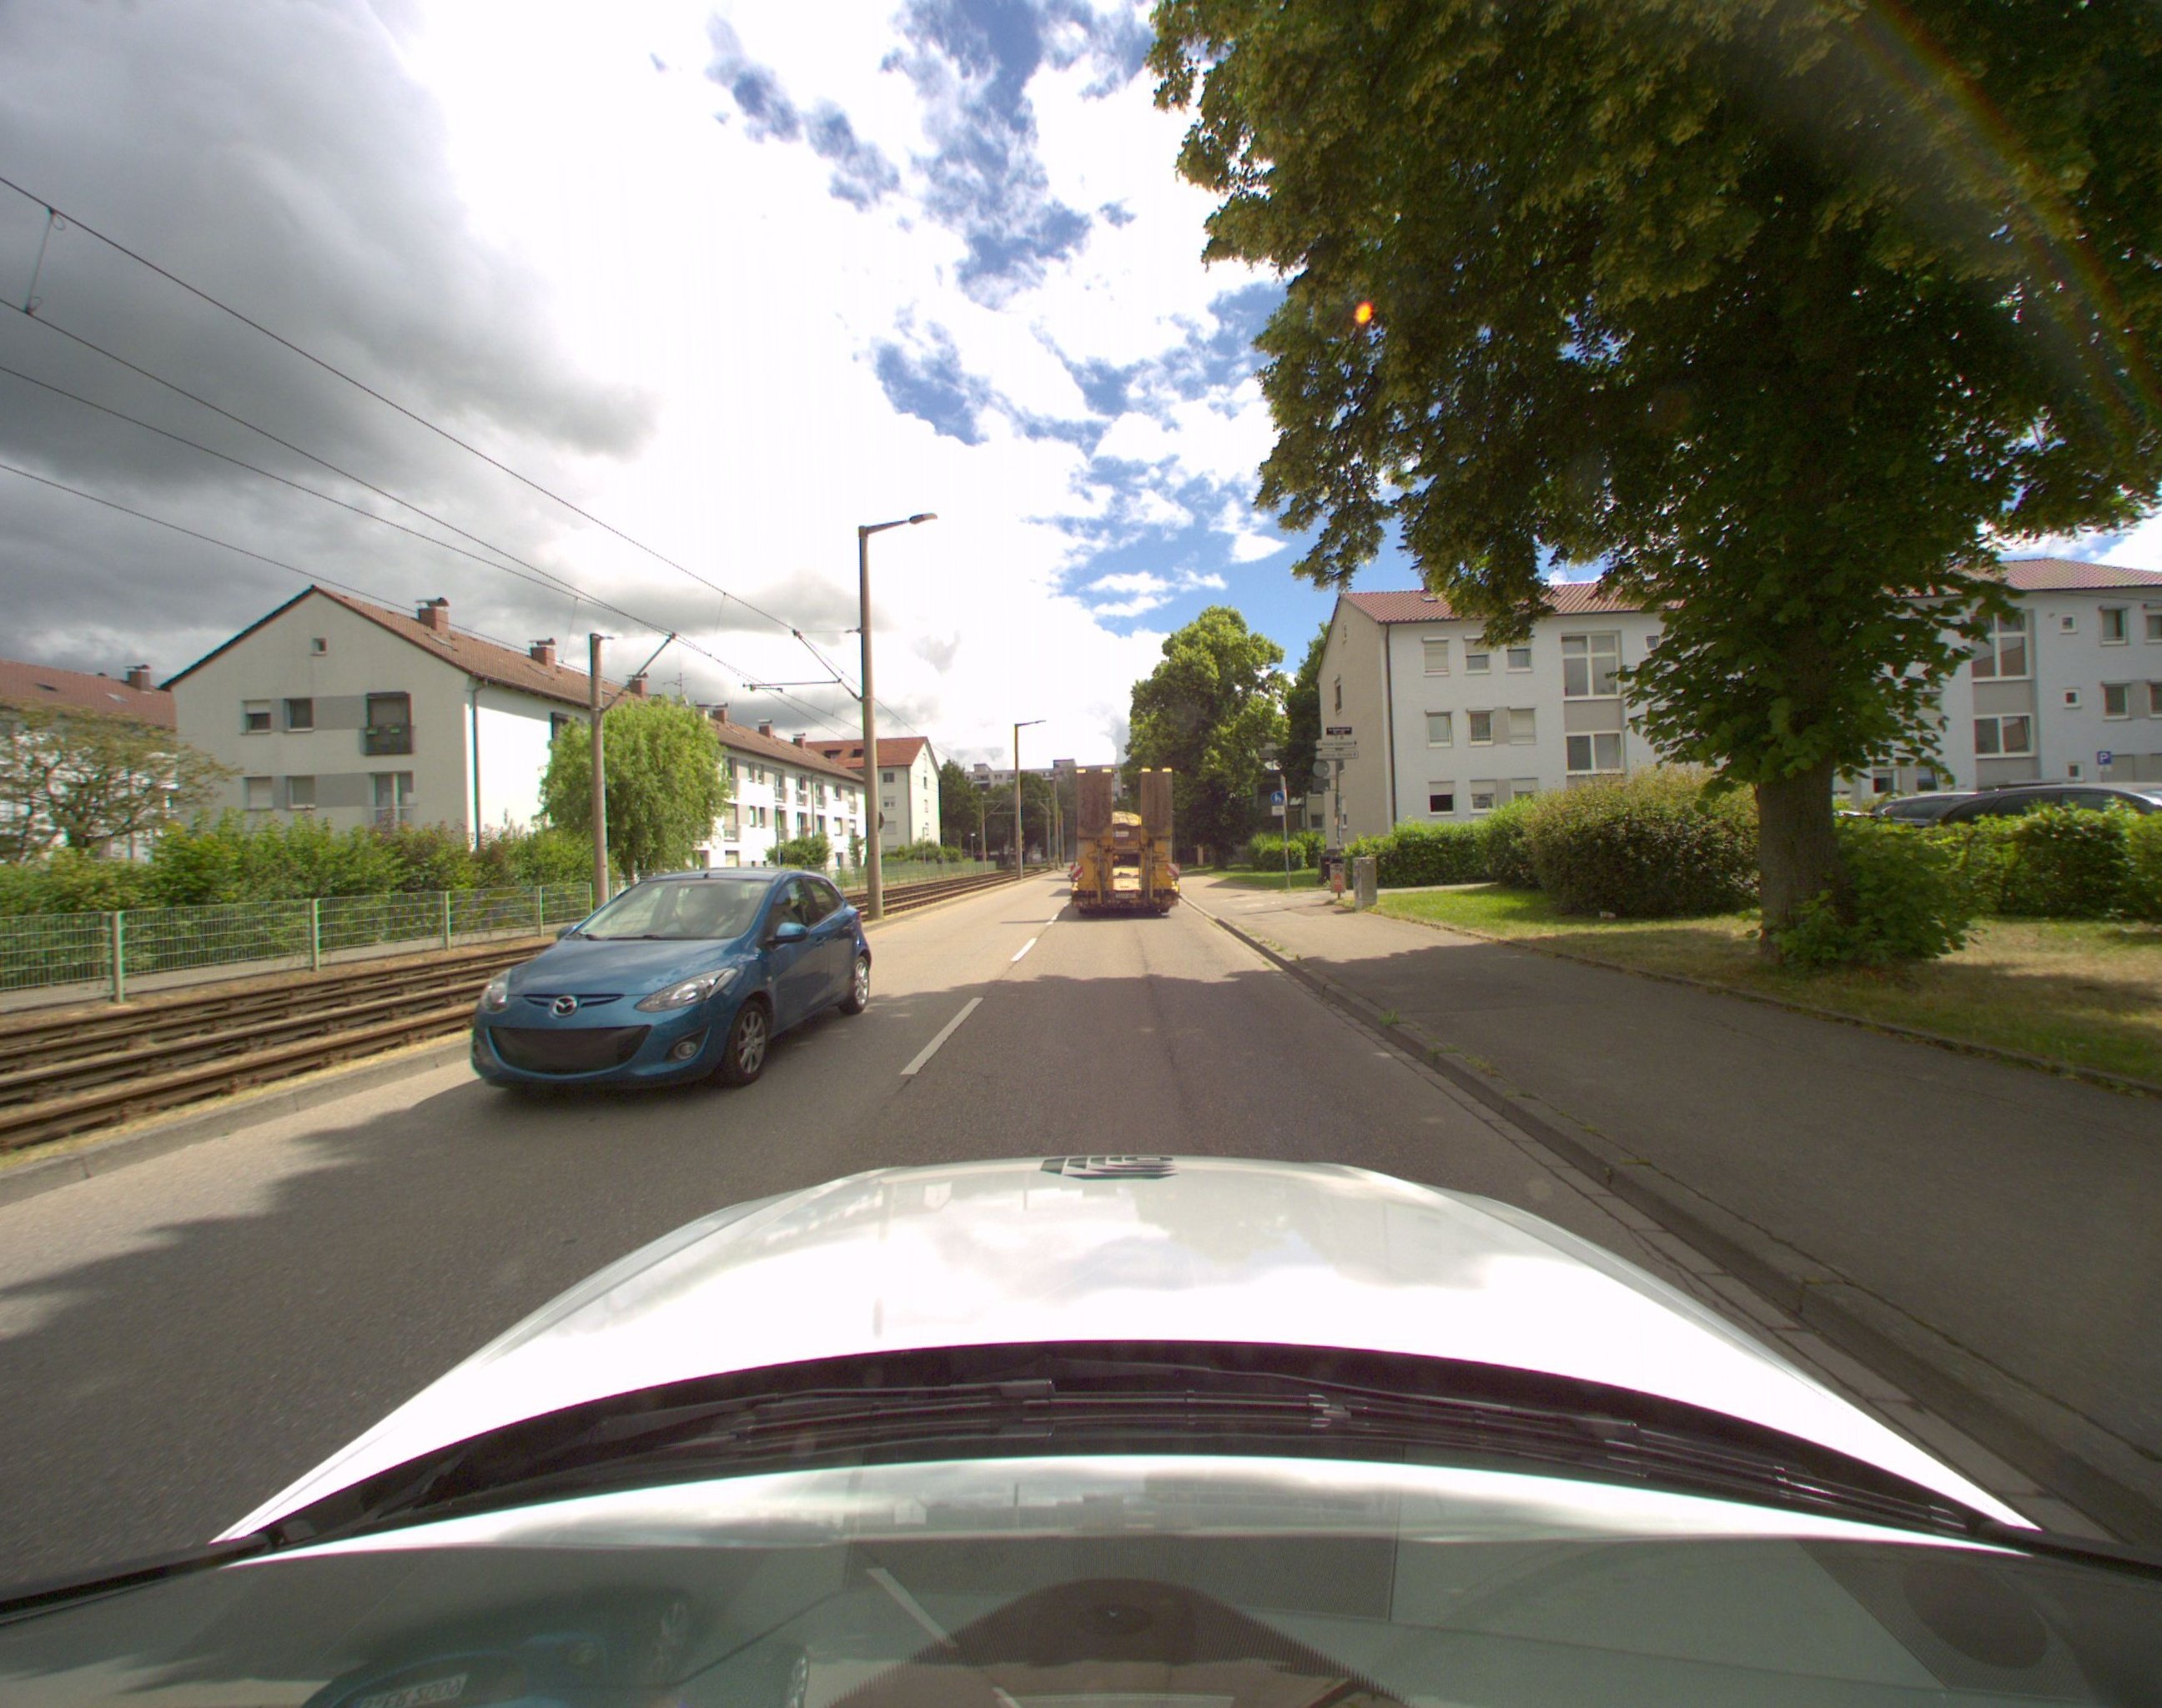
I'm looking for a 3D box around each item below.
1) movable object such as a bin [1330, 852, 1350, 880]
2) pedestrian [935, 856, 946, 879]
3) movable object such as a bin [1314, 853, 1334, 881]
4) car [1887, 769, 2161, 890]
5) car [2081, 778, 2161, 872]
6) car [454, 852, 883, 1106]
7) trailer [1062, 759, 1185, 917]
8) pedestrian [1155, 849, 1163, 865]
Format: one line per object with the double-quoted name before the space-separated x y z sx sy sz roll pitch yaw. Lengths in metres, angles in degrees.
"movable object such as a bin" 8.966 0.408 28.235 0.498 0.947 0.551 -3 0 2
"pedestrian" -11.593 1.090 67.416 0.656 1.849 0.769 -3 0 2
"movable object such as a bin" 8.429 0.444 28.255 0.494 0.955 0.580 -3 0 2
"car" 13.536 -0.289 10.989 1.670 1.416 3.743 0 0 1
"car" 19.651 -0.538 13.408 1.820 1.629 3.745 -2 0 2
"car" -2.966 0.766 6.777 1.617 1.525 3.583 -1 0 2
"trailer" 1.046 -0.366 25.025 2.818 3.646 12.353 0 0 0
"pedestrian" 8.195 0.325 85.247 0.715 1.706 0.767 -3 0 2
